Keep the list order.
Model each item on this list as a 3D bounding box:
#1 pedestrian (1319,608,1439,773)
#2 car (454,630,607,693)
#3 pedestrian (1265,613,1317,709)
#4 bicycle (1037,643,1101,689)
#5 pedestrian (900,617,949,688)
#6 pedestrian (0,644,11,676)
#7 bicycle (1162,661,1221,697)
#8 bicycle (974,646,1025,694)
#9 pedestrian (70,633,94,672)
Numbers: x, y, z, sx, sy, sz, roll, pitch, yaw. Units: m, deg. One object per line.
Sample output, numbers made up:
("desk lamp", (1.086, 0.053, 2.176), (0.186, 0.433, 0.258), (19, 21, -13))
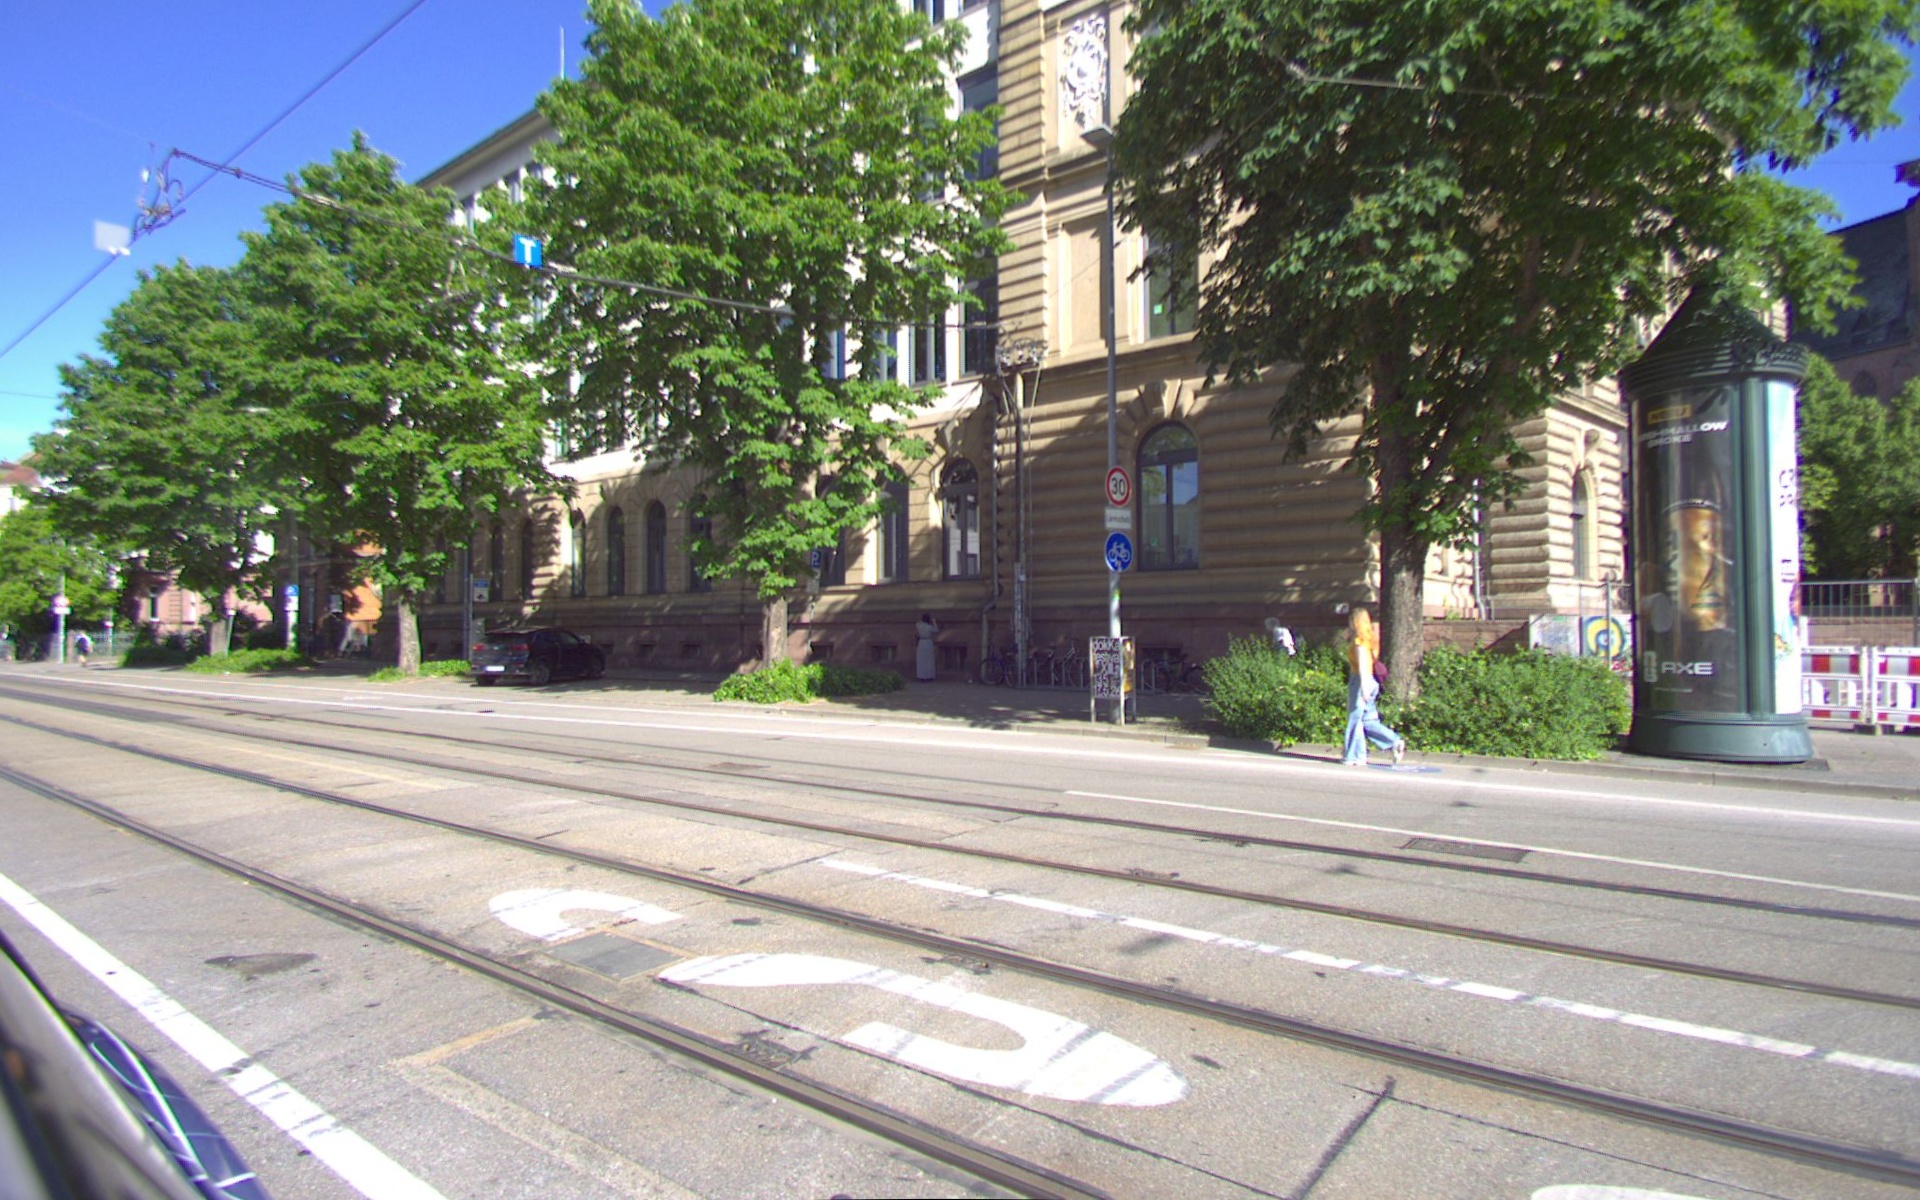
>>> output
("pedestrian", (4.518, 0.944, 10.922), (1.032, 1.682, 0.762), (-1, -3, 37))
("car", (-11.530, 1.618, 27.514), (1.900, 1.586, 4.096), (-1, -2, 11))
("pedestrian", (5.585, 1.018, 17.093), (0.653, 1.574, 0.571), (-2, -3, 39))
("bicycle", (2.278, 1.378, 21.235), (1.360, 0.910, 0.392), (-1, -1, 41))
("pedestrian", (-0.834, 1.225, 23.853), (0.673, 1.578, 0.846), (-1, 2, 43))
("pedestrian", (-56.632, 3.569, 59.890), (0.653, 1.870, 0.571), (-2, -3, 39))
("bicycle", (4.461, 1.517, 19.524), (1.100, 0.641, 0.290), (-1, -1, 37))
("bicycle", (0.835, 1.489, 21.622), (1.101, 0.963, 0.339), (-1, -1, 41))
("pedestrian", (-41.957, 2.493, 48.364), (0.654, 1.870, 0.719), (-2, -3, 41))
